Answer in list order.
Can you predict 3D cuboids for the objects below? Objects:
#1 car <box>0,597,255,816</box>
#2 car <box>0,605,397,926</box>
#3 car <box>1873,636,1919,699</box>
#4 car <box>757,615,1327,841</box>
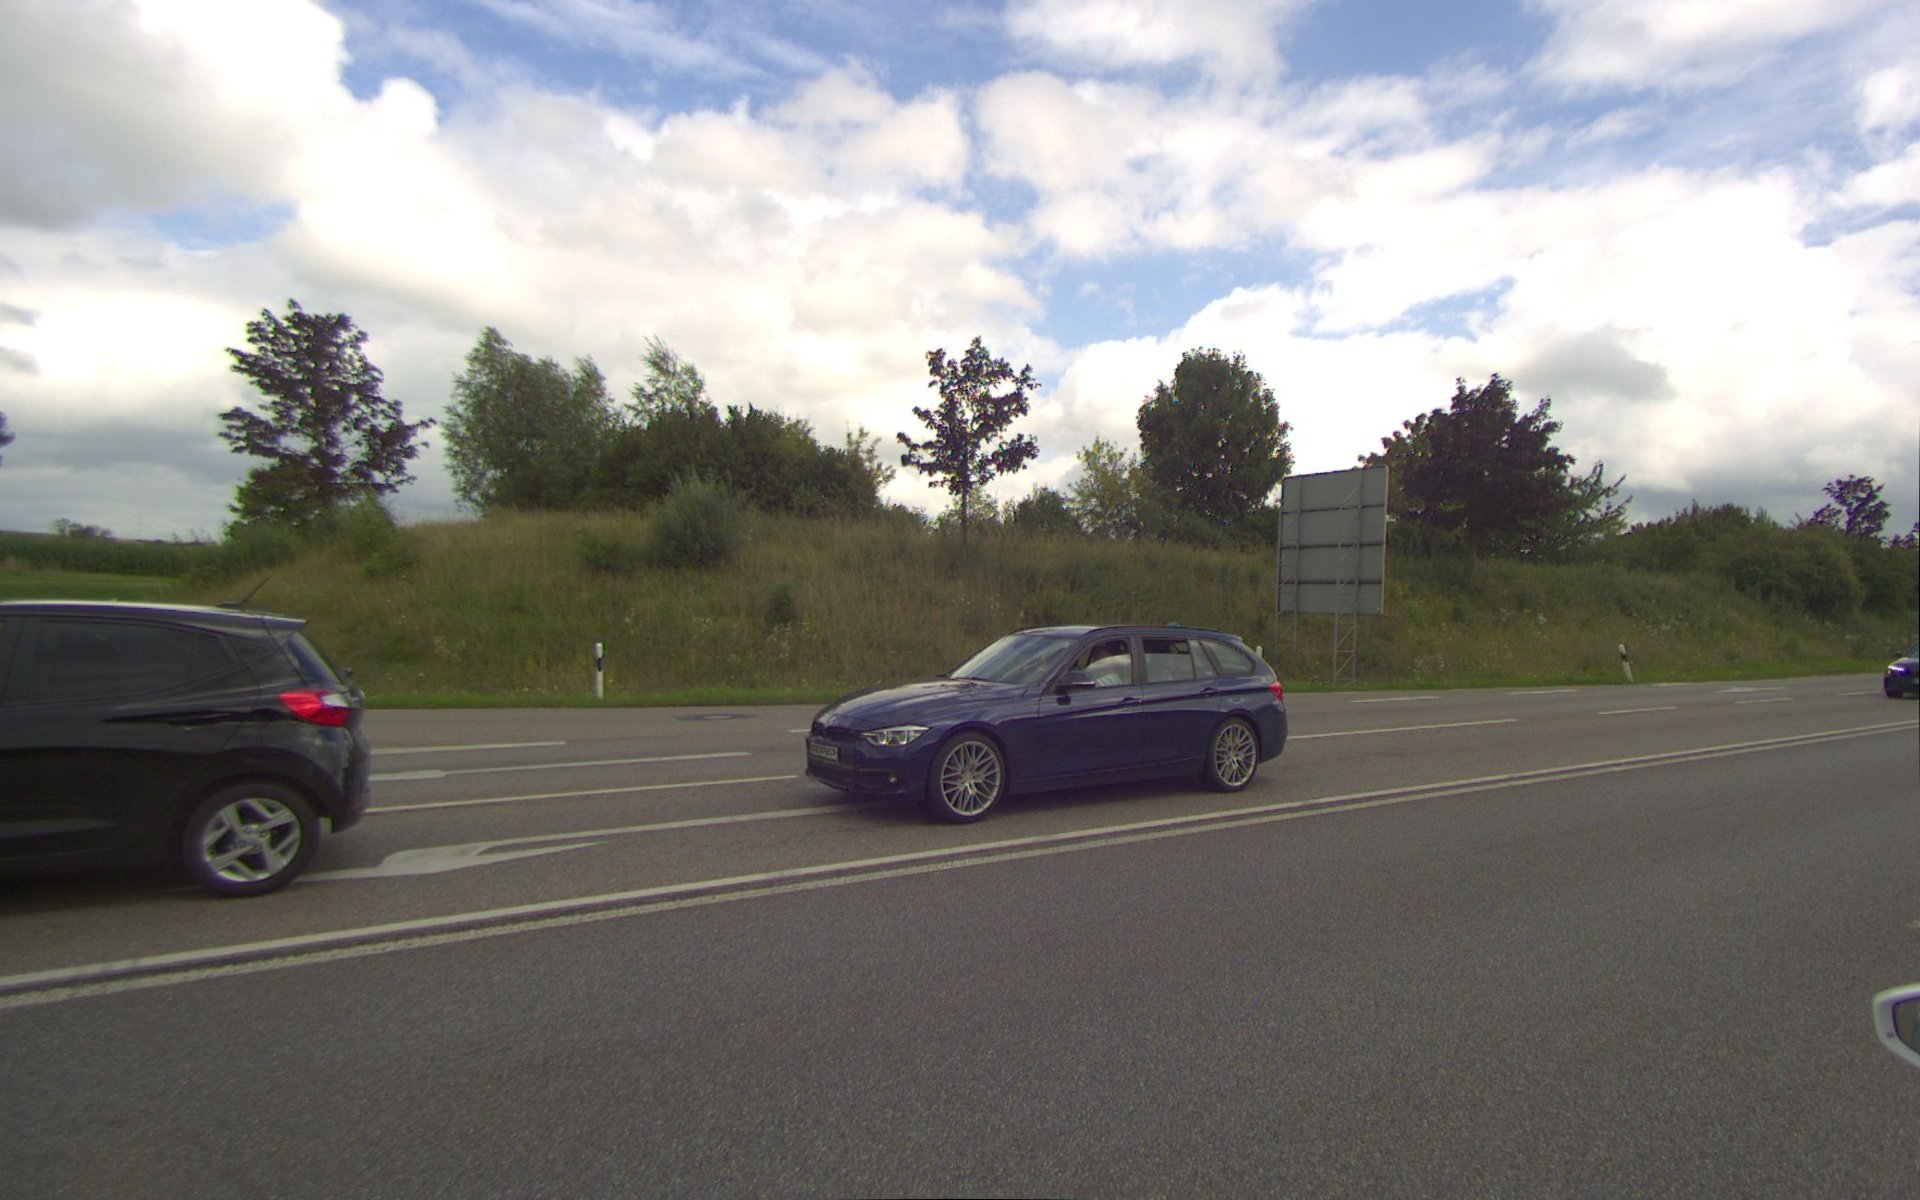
[{"bbox_3d":[-8.311,0.734,7.350,5.074,1.555,2.032,2,-1,-34],"label":"car"},{"bbox_3d":[-5.145,0.755,5.129,3.899,1.462,1.717,1,-1,-32],"label":"car"},{"bbox_3d":[23.474,1.587,23.807,4.497,1.401,1.754,2,-1,-35],"label":"car"},{"bbox_3d":[0.863,0.923,8.894,4.830,1.503,2.037,1,-2,-33],"label":"car"}]
